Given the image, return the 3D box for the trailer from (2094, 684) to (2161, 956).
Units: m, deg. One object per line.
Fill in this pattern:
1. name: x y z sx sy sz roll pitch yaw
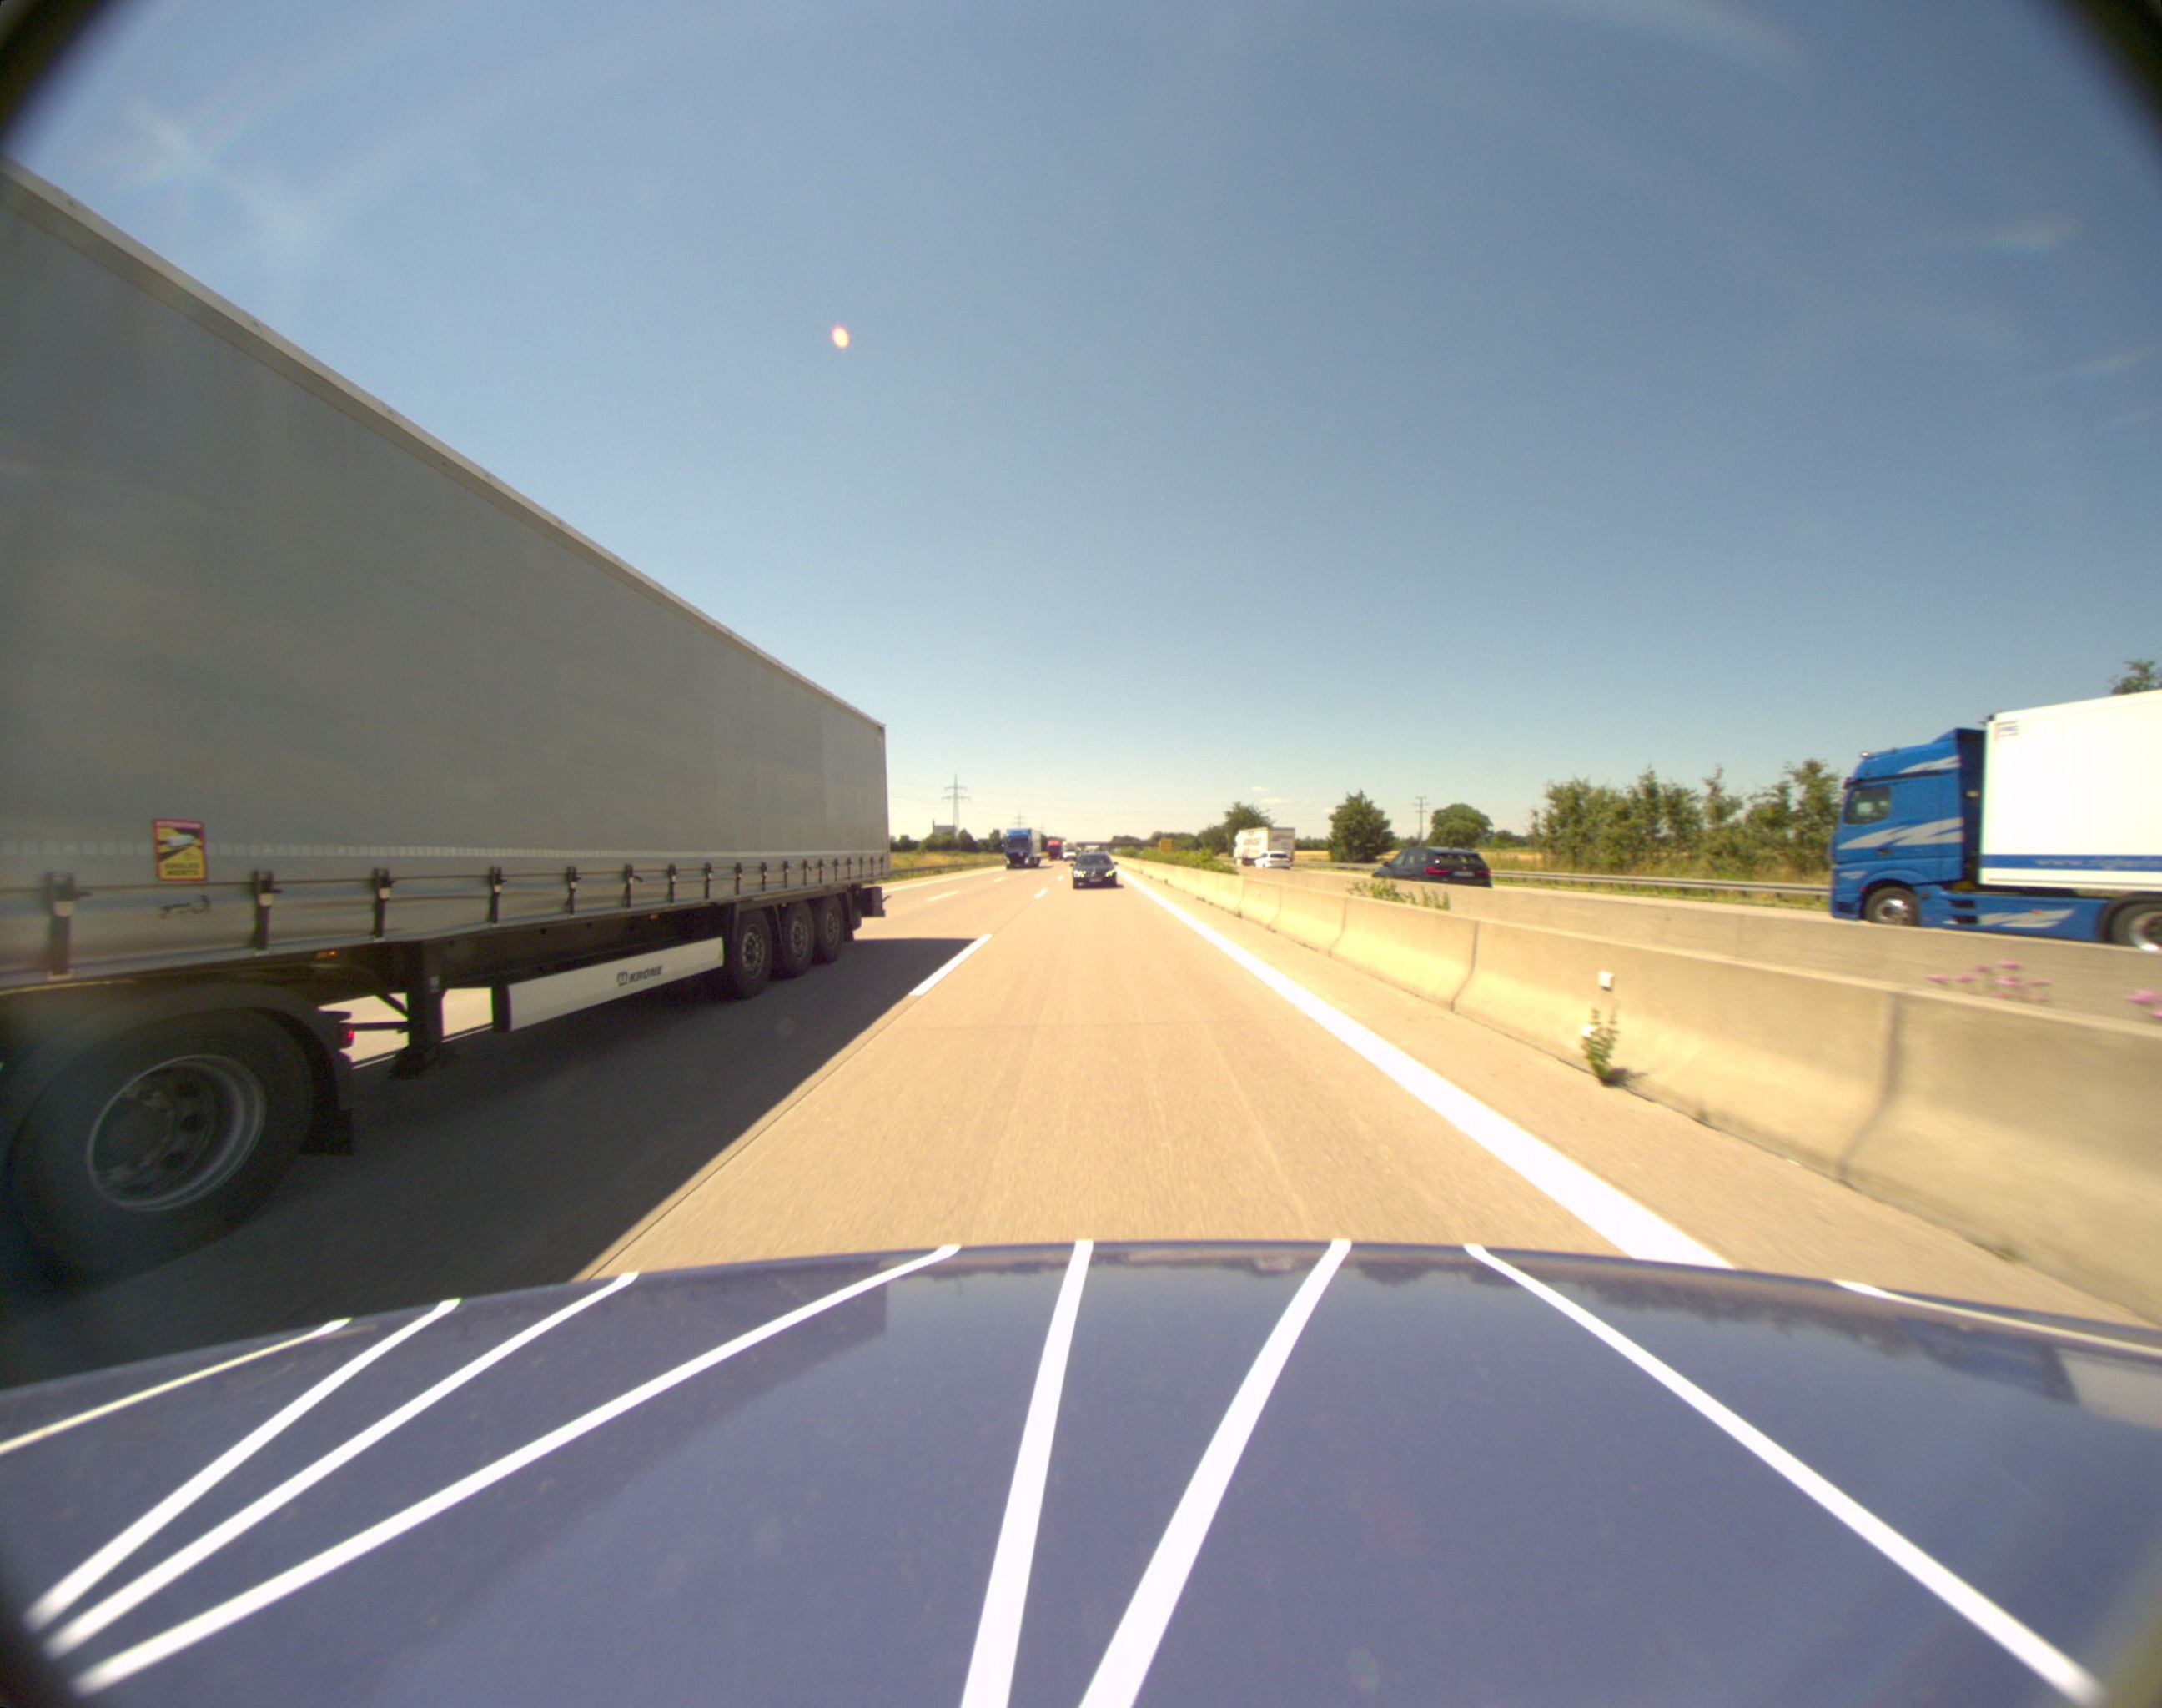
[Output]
1. trailer: 16.846 -0.495 5.316 2.916 3.886 12.509 -2 0 1

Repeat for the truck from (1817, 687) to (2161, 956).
1. truck: 16.948 -0.528 13.141 2.904 3.841 5.684 -2 1 1

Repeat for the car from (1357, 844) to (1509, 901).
1. car: 9.584 0.434 21.208 1.903 1.318 5.069 -2 0 1

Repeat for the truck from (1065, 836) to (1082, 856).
1. truck: -1.227 -1.372 132.948 2.784 3.328 7.812 -2 0 1

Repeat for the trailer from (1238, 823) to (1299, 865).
1. trailer: 18.622 -0.971 76.731 2.777 3.780 13.827 -2 0 1

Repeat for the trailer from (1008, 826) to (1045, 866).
1. trailer: -5.903 -0.854 84.048 2.715 4.020 12.902 -2 0 1

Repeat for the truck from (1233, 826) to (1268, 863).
1. truck: 18.690 -1.032 84.041 2.777 3.817 4.451 -2 1 1

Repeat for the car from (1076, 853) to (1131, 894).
1. car: 0.867 0.698 30.404 1.998 1.462 6.347 0 0 1

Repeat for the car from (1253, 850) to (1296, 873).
1. car: 14.202 0.506 55.939 1.998 1.575 4.369 2 1 0

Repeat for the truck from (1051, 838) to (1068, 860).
1. truck: -4.447 -1.075 157.493 2.855 4.298 10.886 -2 0 1

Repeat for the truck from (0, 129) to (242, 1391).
1. truck: -4.977 -0.271 0.286 2.992 4.039 5.477 -2 1 1

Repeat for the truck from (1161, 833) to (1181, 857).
1. truck: 15.855 -1.649 134.121 2.750 4.056 5.540 -2 1 1

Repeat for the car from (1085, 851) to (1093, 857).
1. car: 2.048 0.020 191.351 1.683 1.444 3.564 -2 0 2

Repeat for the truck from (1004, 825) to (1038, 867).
1. truck: -6.031 -0.805 77.481 2.757 4.020 5.466 -2 1 1

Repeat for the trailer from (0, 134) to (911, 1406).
1. trailer: -4.880 -0.287 7.236 3.025 4.037 14.205 -2 0 1
